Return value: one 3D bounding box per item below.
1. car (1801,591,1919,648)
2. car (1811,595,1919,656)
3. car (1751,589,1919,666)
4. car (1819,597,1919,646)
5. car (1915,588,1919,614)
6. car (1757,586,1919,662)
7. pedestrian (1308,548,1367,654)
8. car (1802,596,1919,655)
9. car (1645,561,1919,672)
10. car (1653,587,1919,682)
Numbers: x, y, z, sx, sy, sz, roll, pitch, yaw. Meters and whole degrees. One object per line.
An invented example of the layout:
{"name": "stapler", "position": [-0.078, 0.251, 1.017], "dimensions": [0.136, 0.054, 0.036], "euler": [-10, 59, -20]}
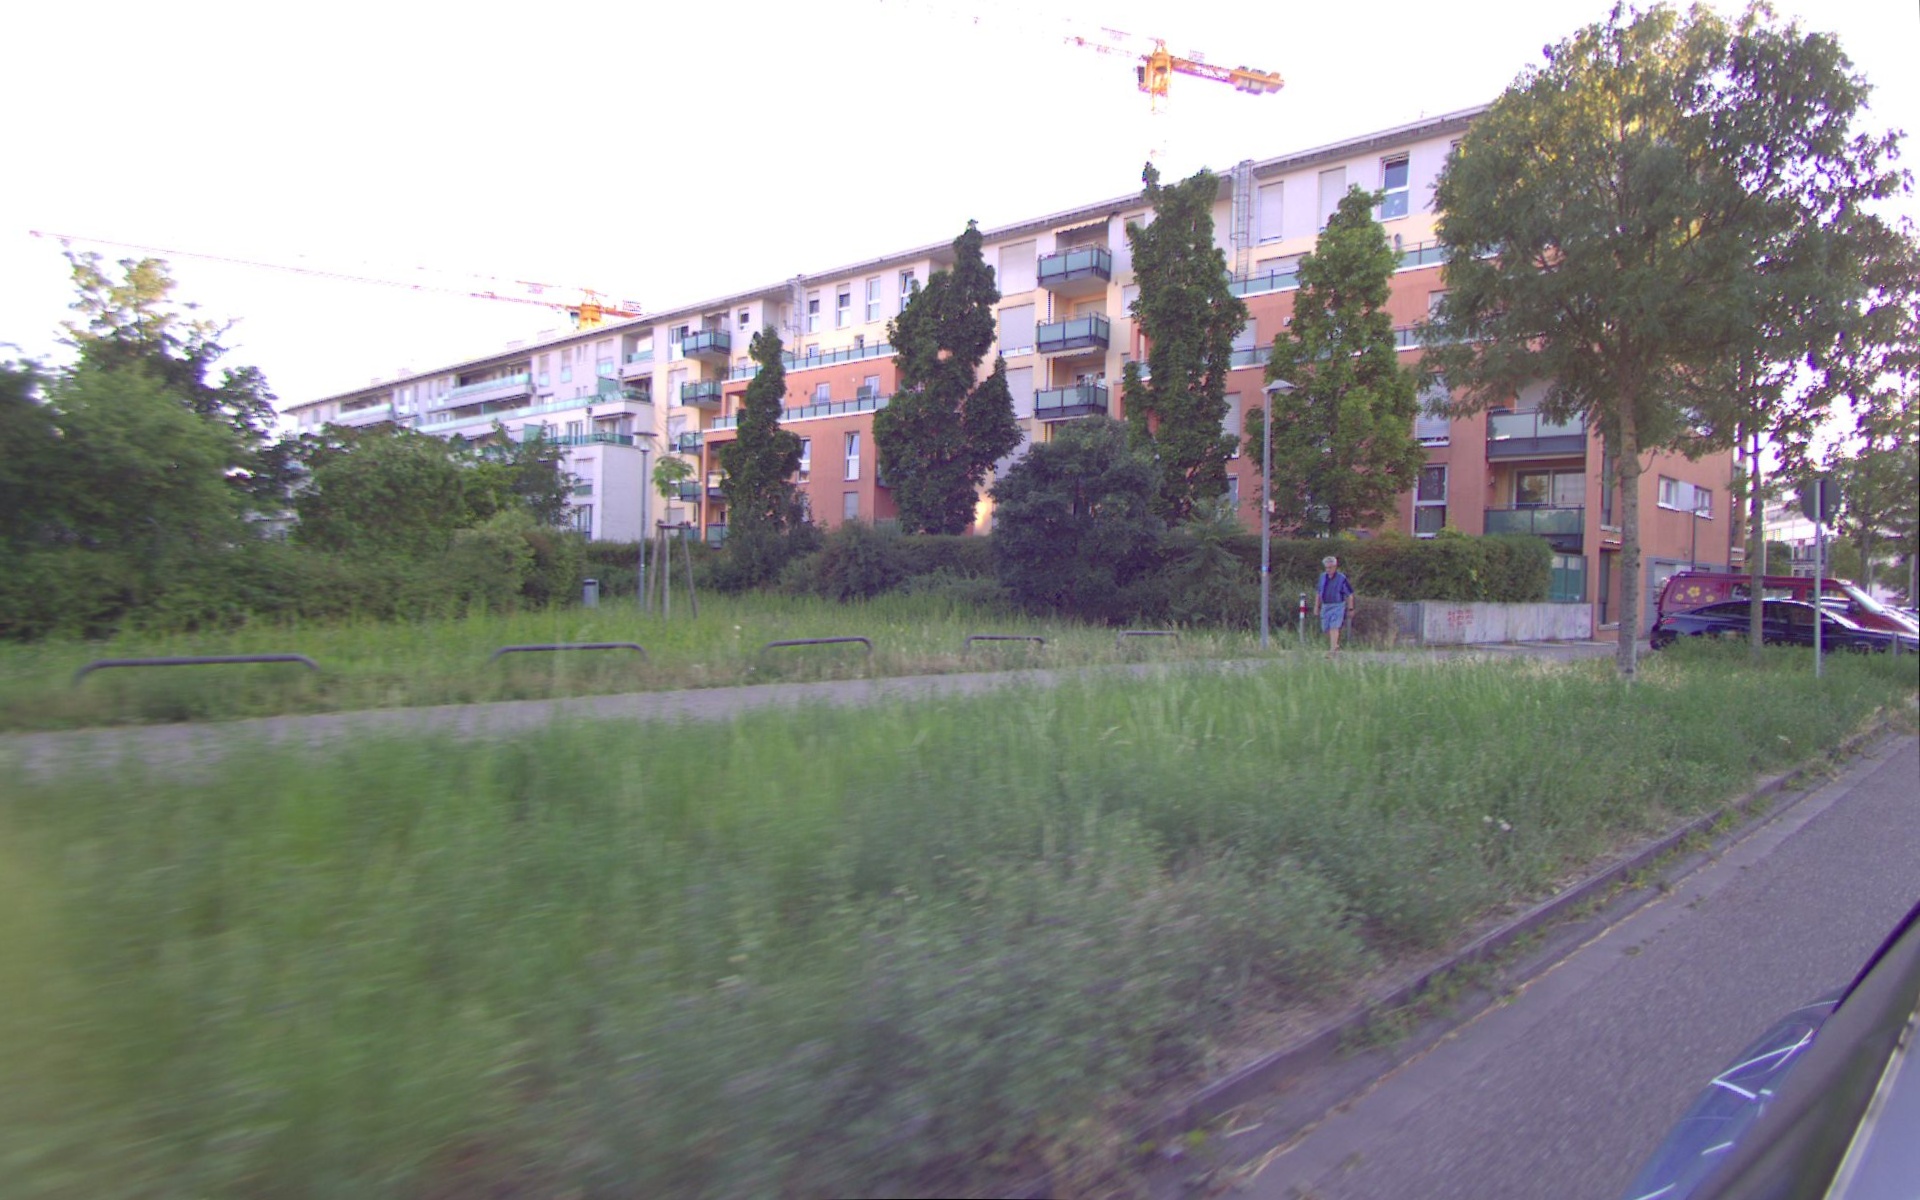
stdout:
{"name": "car", "position": [29.049, 0.615, 31.581], "dimensions": [1.643, 1.588, 4.059], "euler": [1, 2, -40]}
{"name": "car", "position": [25.782, 0.701, 27.562], "dimensions": [1.512, 1.514, 3.781], "euler": [-2, 3, -41]}
{"name": "car", "position": [20.267, 0.599, 22.805], "dimensions": [1.587, 1.483, 3.534], "euler": [1, 3, -40]}
{"name": "car", "position": [30.785, 0.699, 33.286], "dimensions": [1.587, 1.492, 3.751], "euler": [0, 1, -45]}
{"name": "car", "position": [105.866, 0.179, 109.261], "dimensions": [1.984, 2.911, 6.204], "euler": [3, 1, 24]}
{"name": "car", "position": [22.064, 0.580, 24.335], "dimensions": [1.761, 1.588, 4.226], "euler": [1, 3, -40]}
{"name": "pedestrian", "position": [6.448, 0.003, 17.292], "dimensions": [0.687, 1.765, 0.670], "euler": [1, 1, -41]}
{"name": "car", "position": [27.372, 0.738, 29.703], "dimensions": [1.591, 1.588, 3.884], "euler": [1, 1, -40]}
{"name": "car", "position": [17.972, 0.255, 21.818], "dimensions": [1.980, 2.143, 4.932], "euler": [1, 1, -39]}
{"name": "car", "position": [16.370, 0.603, 19.511], "dimensions": [1.780, 1.576, 4.677], "euler": [1, 1, -41]}
